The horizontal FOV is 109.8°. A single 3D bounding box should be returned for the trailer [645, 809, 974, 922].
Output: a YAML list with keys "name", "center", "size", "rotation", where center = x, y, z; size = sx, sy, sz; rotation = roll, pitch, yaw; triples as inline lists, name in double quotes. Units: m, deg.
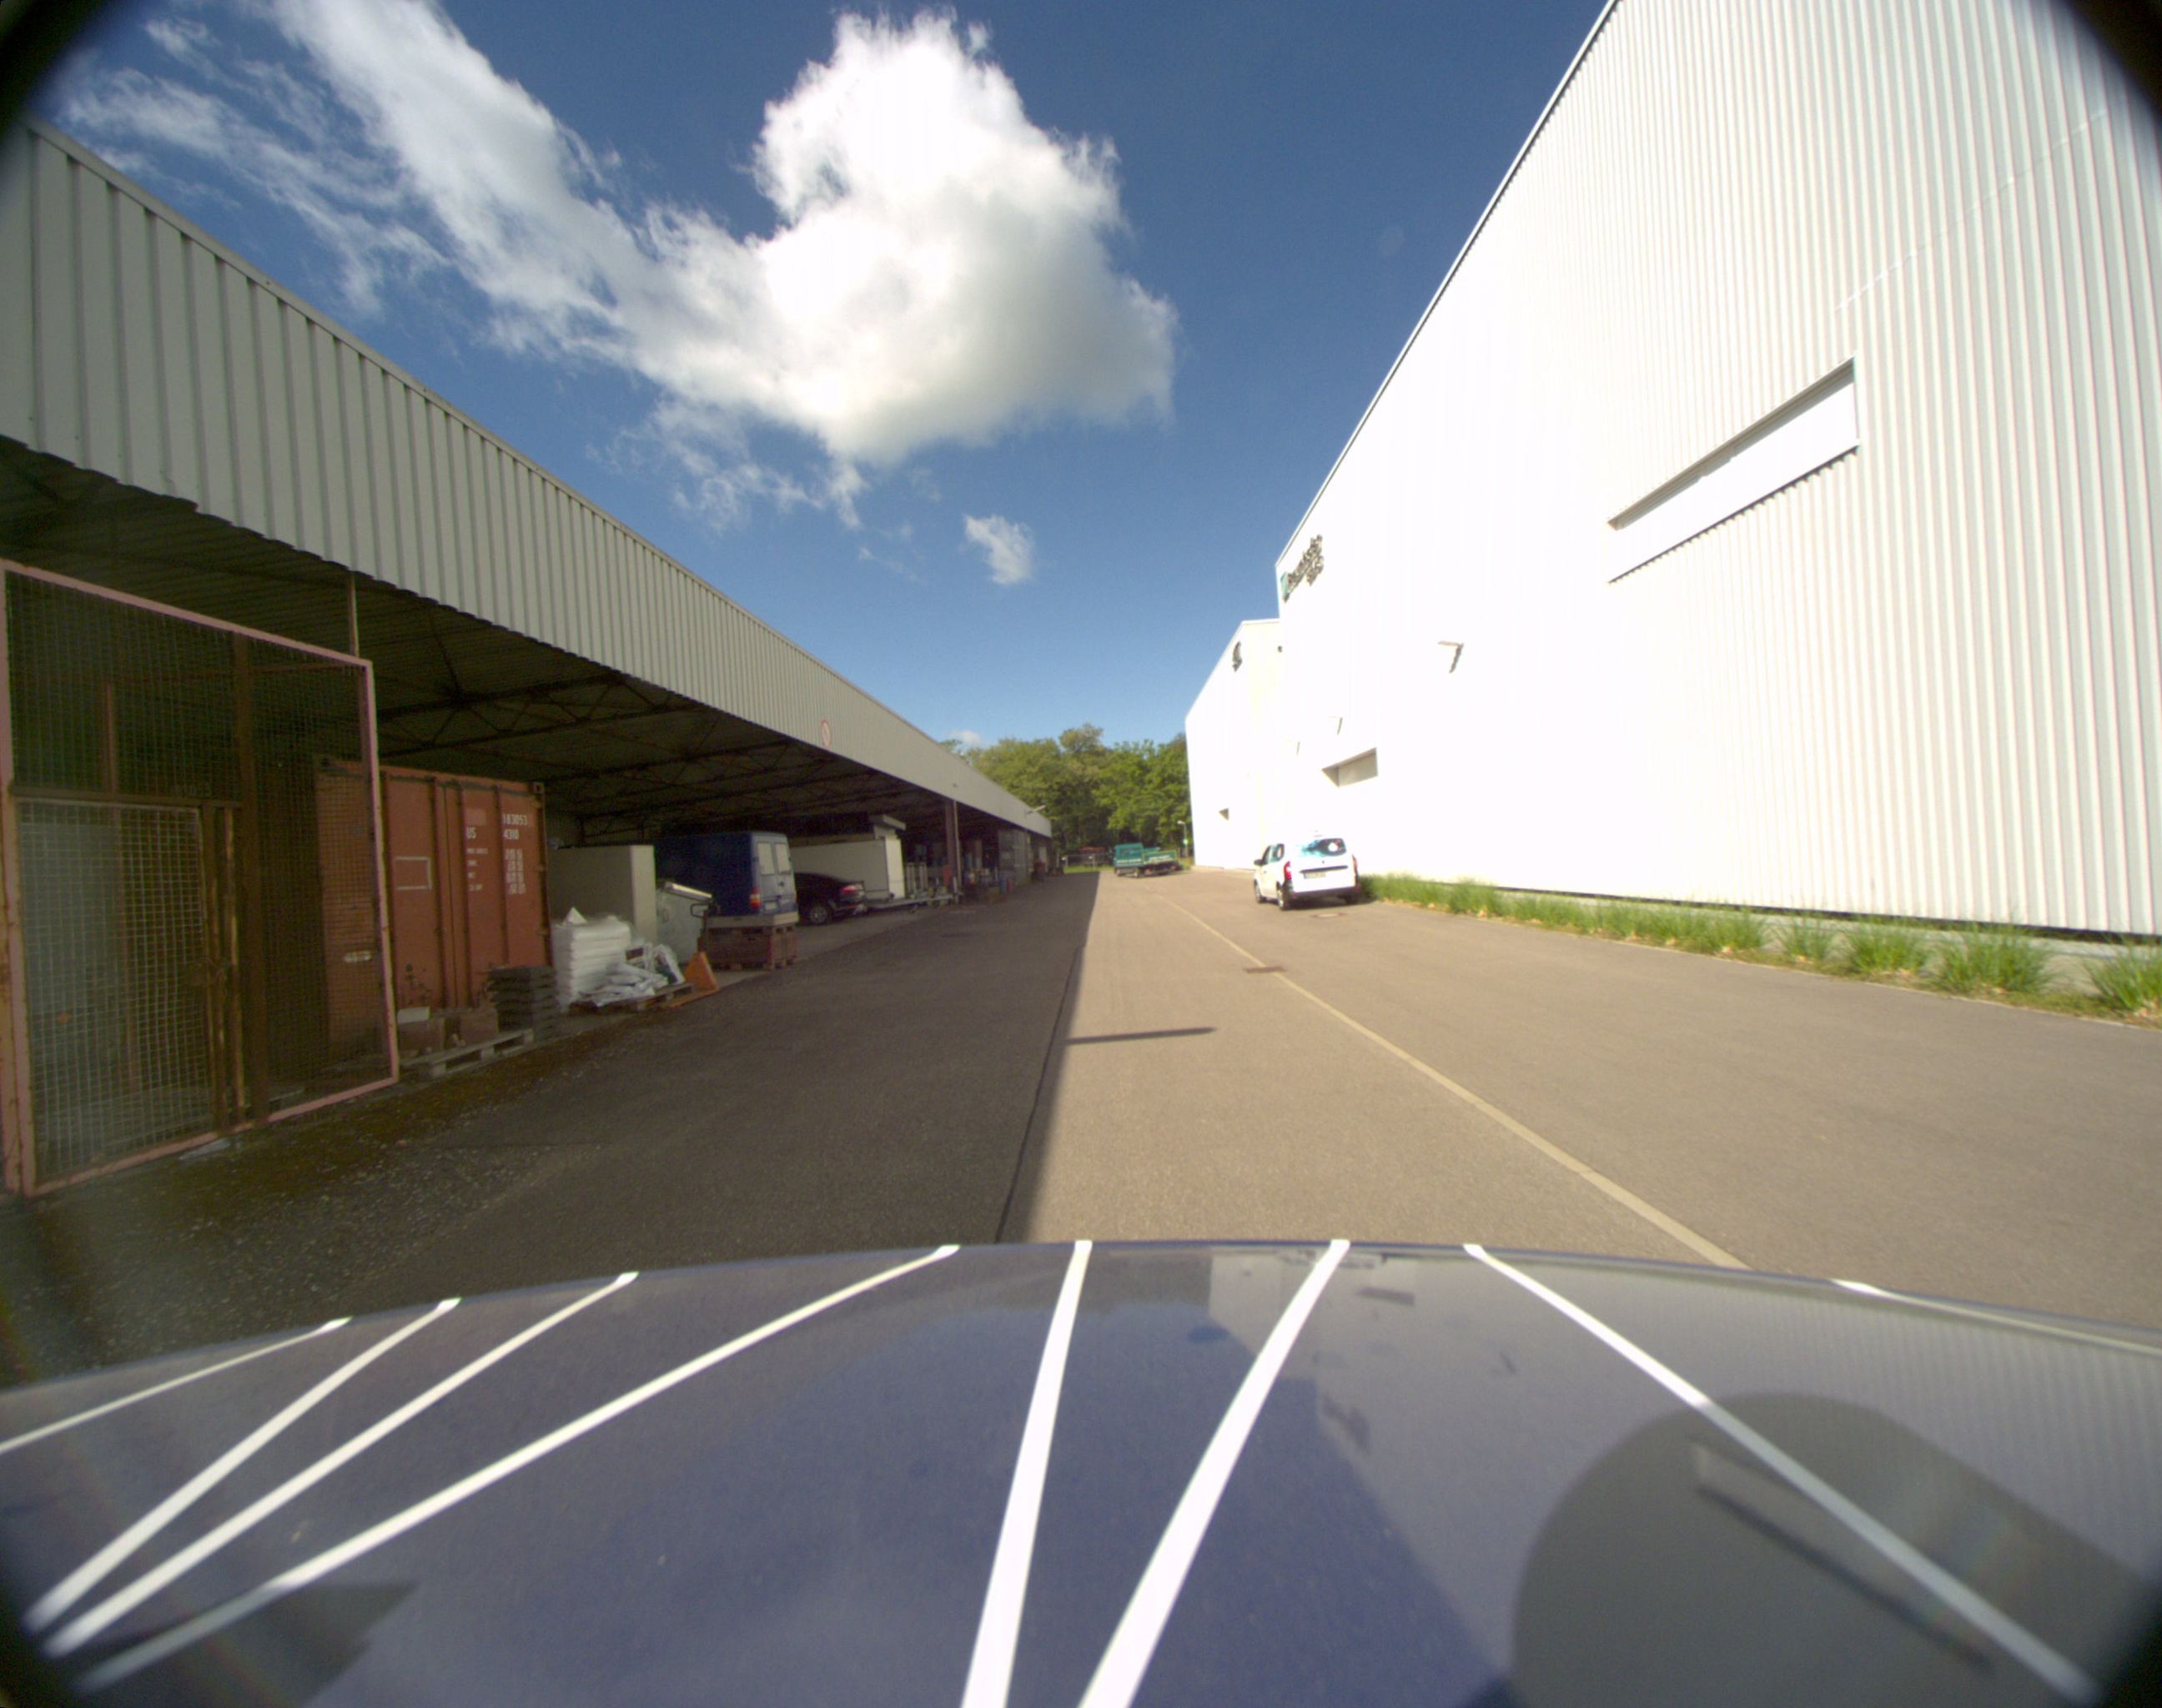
- name: "trailer"
  center: [-9.135, 0.392, 26.268]
  size: [10.317, 3.276, 2.675]
  rotation: [-2, 0, 2]

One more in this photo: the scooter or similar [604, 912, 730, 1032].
- name: "scooter or similar"
  center: [-4.835, 1.335, 9.000]
  size: [0.521, 1.128, 1.592]
  rotation: [-3, 1, 1]

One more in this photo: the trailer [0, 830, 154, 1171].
- name: "trailer"
  center: [-7.571, 0.953, 3.755]
  size: [1.581, 2.131, 3.521]
  rotation: [-2, 1, -1]

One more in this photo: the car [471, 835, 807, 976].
- name: "car"
  center: [-8.426, 0.933, 14.873]
  size: [5.229, 2.284, 2.084]
  rotation: [-3, 1, 1]

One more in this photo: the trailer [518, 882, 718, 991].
- name: "trailer"
  center: [-7.358, 1.282, 12.244]
  size: [2.099, 1.454, 1.642]
  rotation: [-3, 1, 5]

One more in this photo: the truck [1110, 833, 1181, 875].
- name: "truck"
  center: [4.694, 0.104, 57.477]
  size: [2.589, 2.701, 9.687]
  rotation: [-6, 0, -11]

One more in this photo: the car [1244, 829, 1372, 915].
- name: "car"
  center: [5.682, 0.411, 19.674]
  size: [1.933, 1.779, 4.598]
  rotation: [-5, 0, 2]

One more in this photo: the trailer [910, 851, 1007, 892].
- name: "trailer"
  center: [-6.718, 0.946, 41.981]
  size: [4.828, 1.985, 2.047]
  rotation: [-2, 1, 4]

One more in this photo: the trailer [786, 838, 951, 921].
- name: "trailer"
  center: [-6.544, 0.783, 23.679]
  size: [4.552, 2.321, 1.689]
  rotation: [-2, 0, 2]

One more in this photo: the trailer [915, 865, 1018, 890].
- name: "trailer"
  center: [-6.752, 1.396, 45.321]
  size: [5.748, 1.126, 2.009]
  rotation: [-3, 0, 0]

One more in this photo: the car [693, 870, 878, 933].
- name: "car"
  center: [-8.101, 1.278, 21.128]
  size: [4.355, 1.425, 1.864]
  rotation: [-2, 1, -2]
